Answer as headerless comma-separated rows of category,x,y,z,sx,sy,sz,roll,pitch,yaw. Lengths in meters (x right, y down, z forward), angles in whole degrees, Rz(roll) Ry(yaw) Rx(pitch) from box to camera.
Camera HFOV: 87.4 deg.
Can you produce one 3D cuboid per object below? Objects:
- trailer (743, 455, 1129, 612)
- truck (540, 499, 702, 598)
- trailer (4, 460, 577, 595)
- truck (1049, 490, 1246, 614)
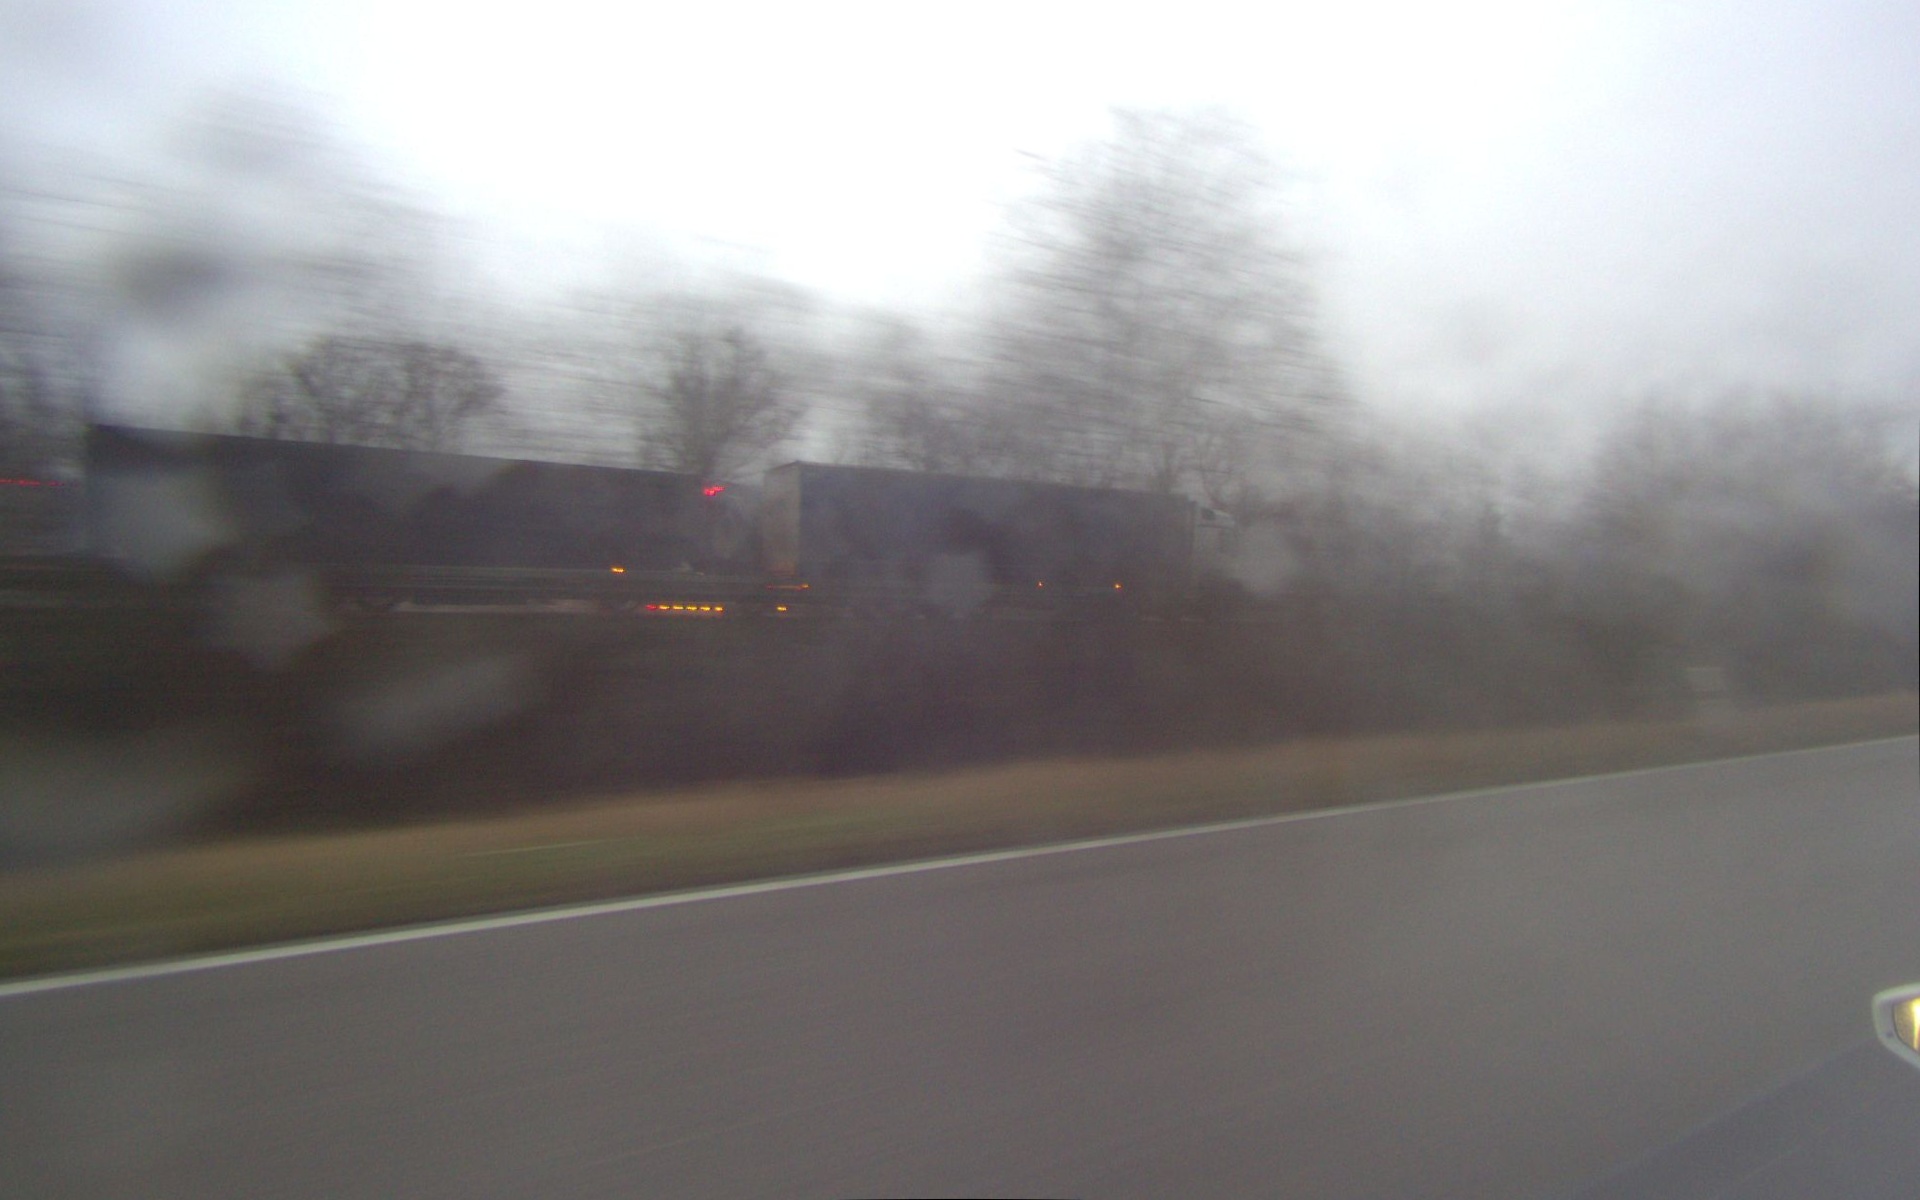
trailer,-0.392,-1.628,29.342,11.256,3.682,2.983,2,-1,-31
truck,-9.686,-1.373,28.704,3.953,2.468,2.518,2,-2,-30
trailer,-15.785,-1.544,25.106,11.367,2.456,2.497,2,-2,-30
truck,6.253,-1.427,33.356,5.997,3.680,2.977,2,-1,-31
